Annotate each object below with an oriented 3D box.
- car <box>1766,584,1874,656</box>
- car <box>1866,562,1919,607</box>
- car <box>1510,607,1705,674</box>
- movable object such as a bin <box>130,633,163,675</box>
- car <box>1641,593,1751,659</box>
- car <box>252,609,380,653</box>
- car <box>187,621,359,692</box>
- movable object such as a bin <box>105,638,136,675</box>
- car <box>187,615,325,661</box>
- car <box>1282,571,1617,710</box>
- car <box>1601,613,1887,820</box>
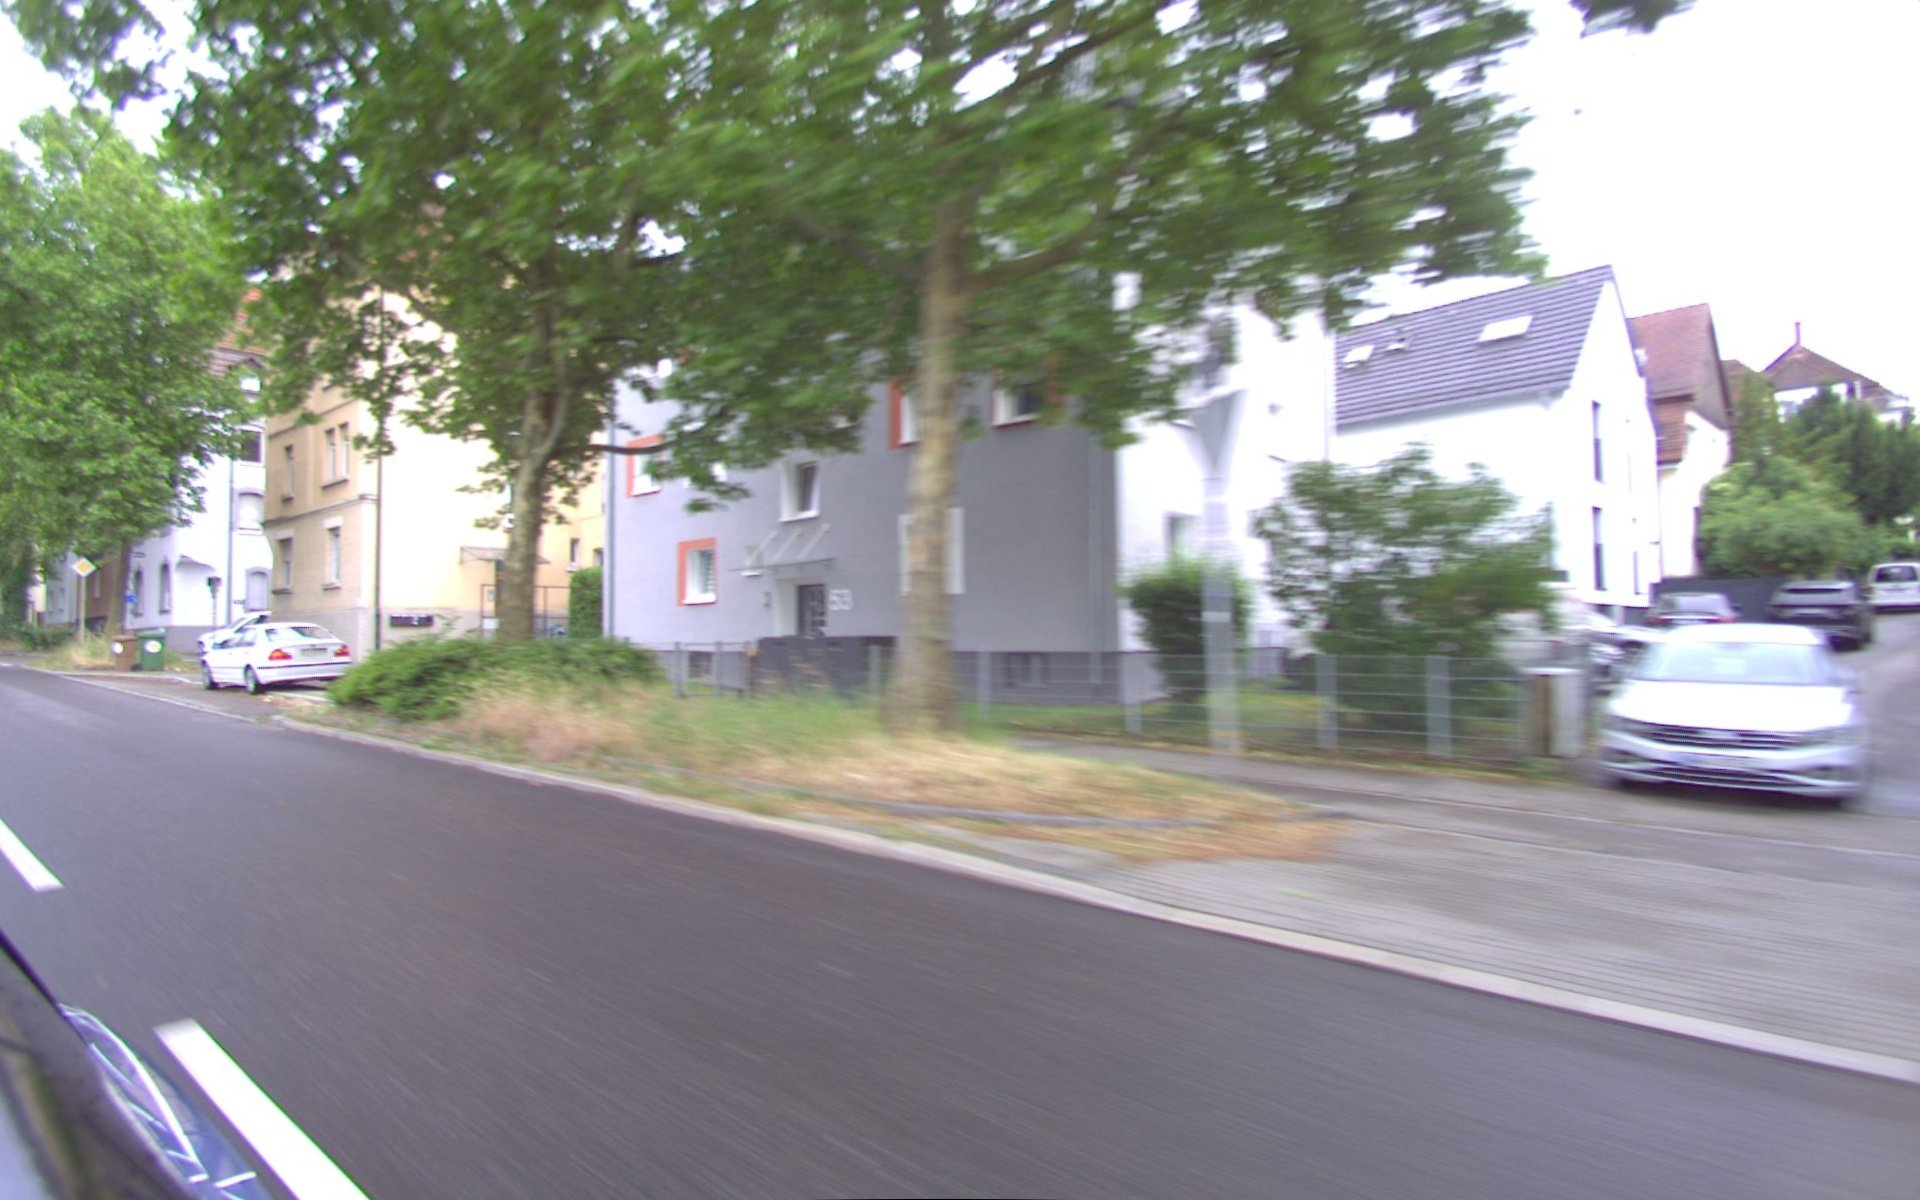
[{"bbox_3d":[21.504,0.434,25.252,1.865,1.650,3.943,0,0,43],"label":"car"},{"bbox_3d":[35.125,-0.602,37.759,1.865,1.598,3.943,0,1,43],"label":"car"},{"bbox_3d":[13.469,0.795,21.138,3.276,1.265,1.355,0,0,42],"label":"car"},{"bbox_3d":[-21.753,1.440,27.063,0.762,1.065,0.529,0,-2,41],"label":"movable object such as a bin"},{"bbox_3d":[18.205,0.584,24.966,1.719,1.490,3.943,0,0,43],"label":"car"},{"bbox_3d":[-26.012,1.207,40.916,4.066,1.623,2.045,-1,0,-43],"label":"car"},{"bbox_3d":[-14.728,1.135,21.607,4.532,1.336,1.739,-1,-1,38],"label":"car"},{"bbox_3d":[-22.065,1.480,26.596,0.581,0.935,0.507,0,-2,41],"label":"movable object such as a bin"},{"bbox_3d":[-31.016,1.632,44.694,2.019,1.791,4.623,-1,0,40],"label":"car"},{"bbox_3d":[7.777,0.558,16.413,1.863,1.934,4.556,-1,0,-44],"label":"car"},{"bbox_3d":[7.905,0.924,10.160,1.869,1.488,4.615,0,0,40],"label":"car"}]
